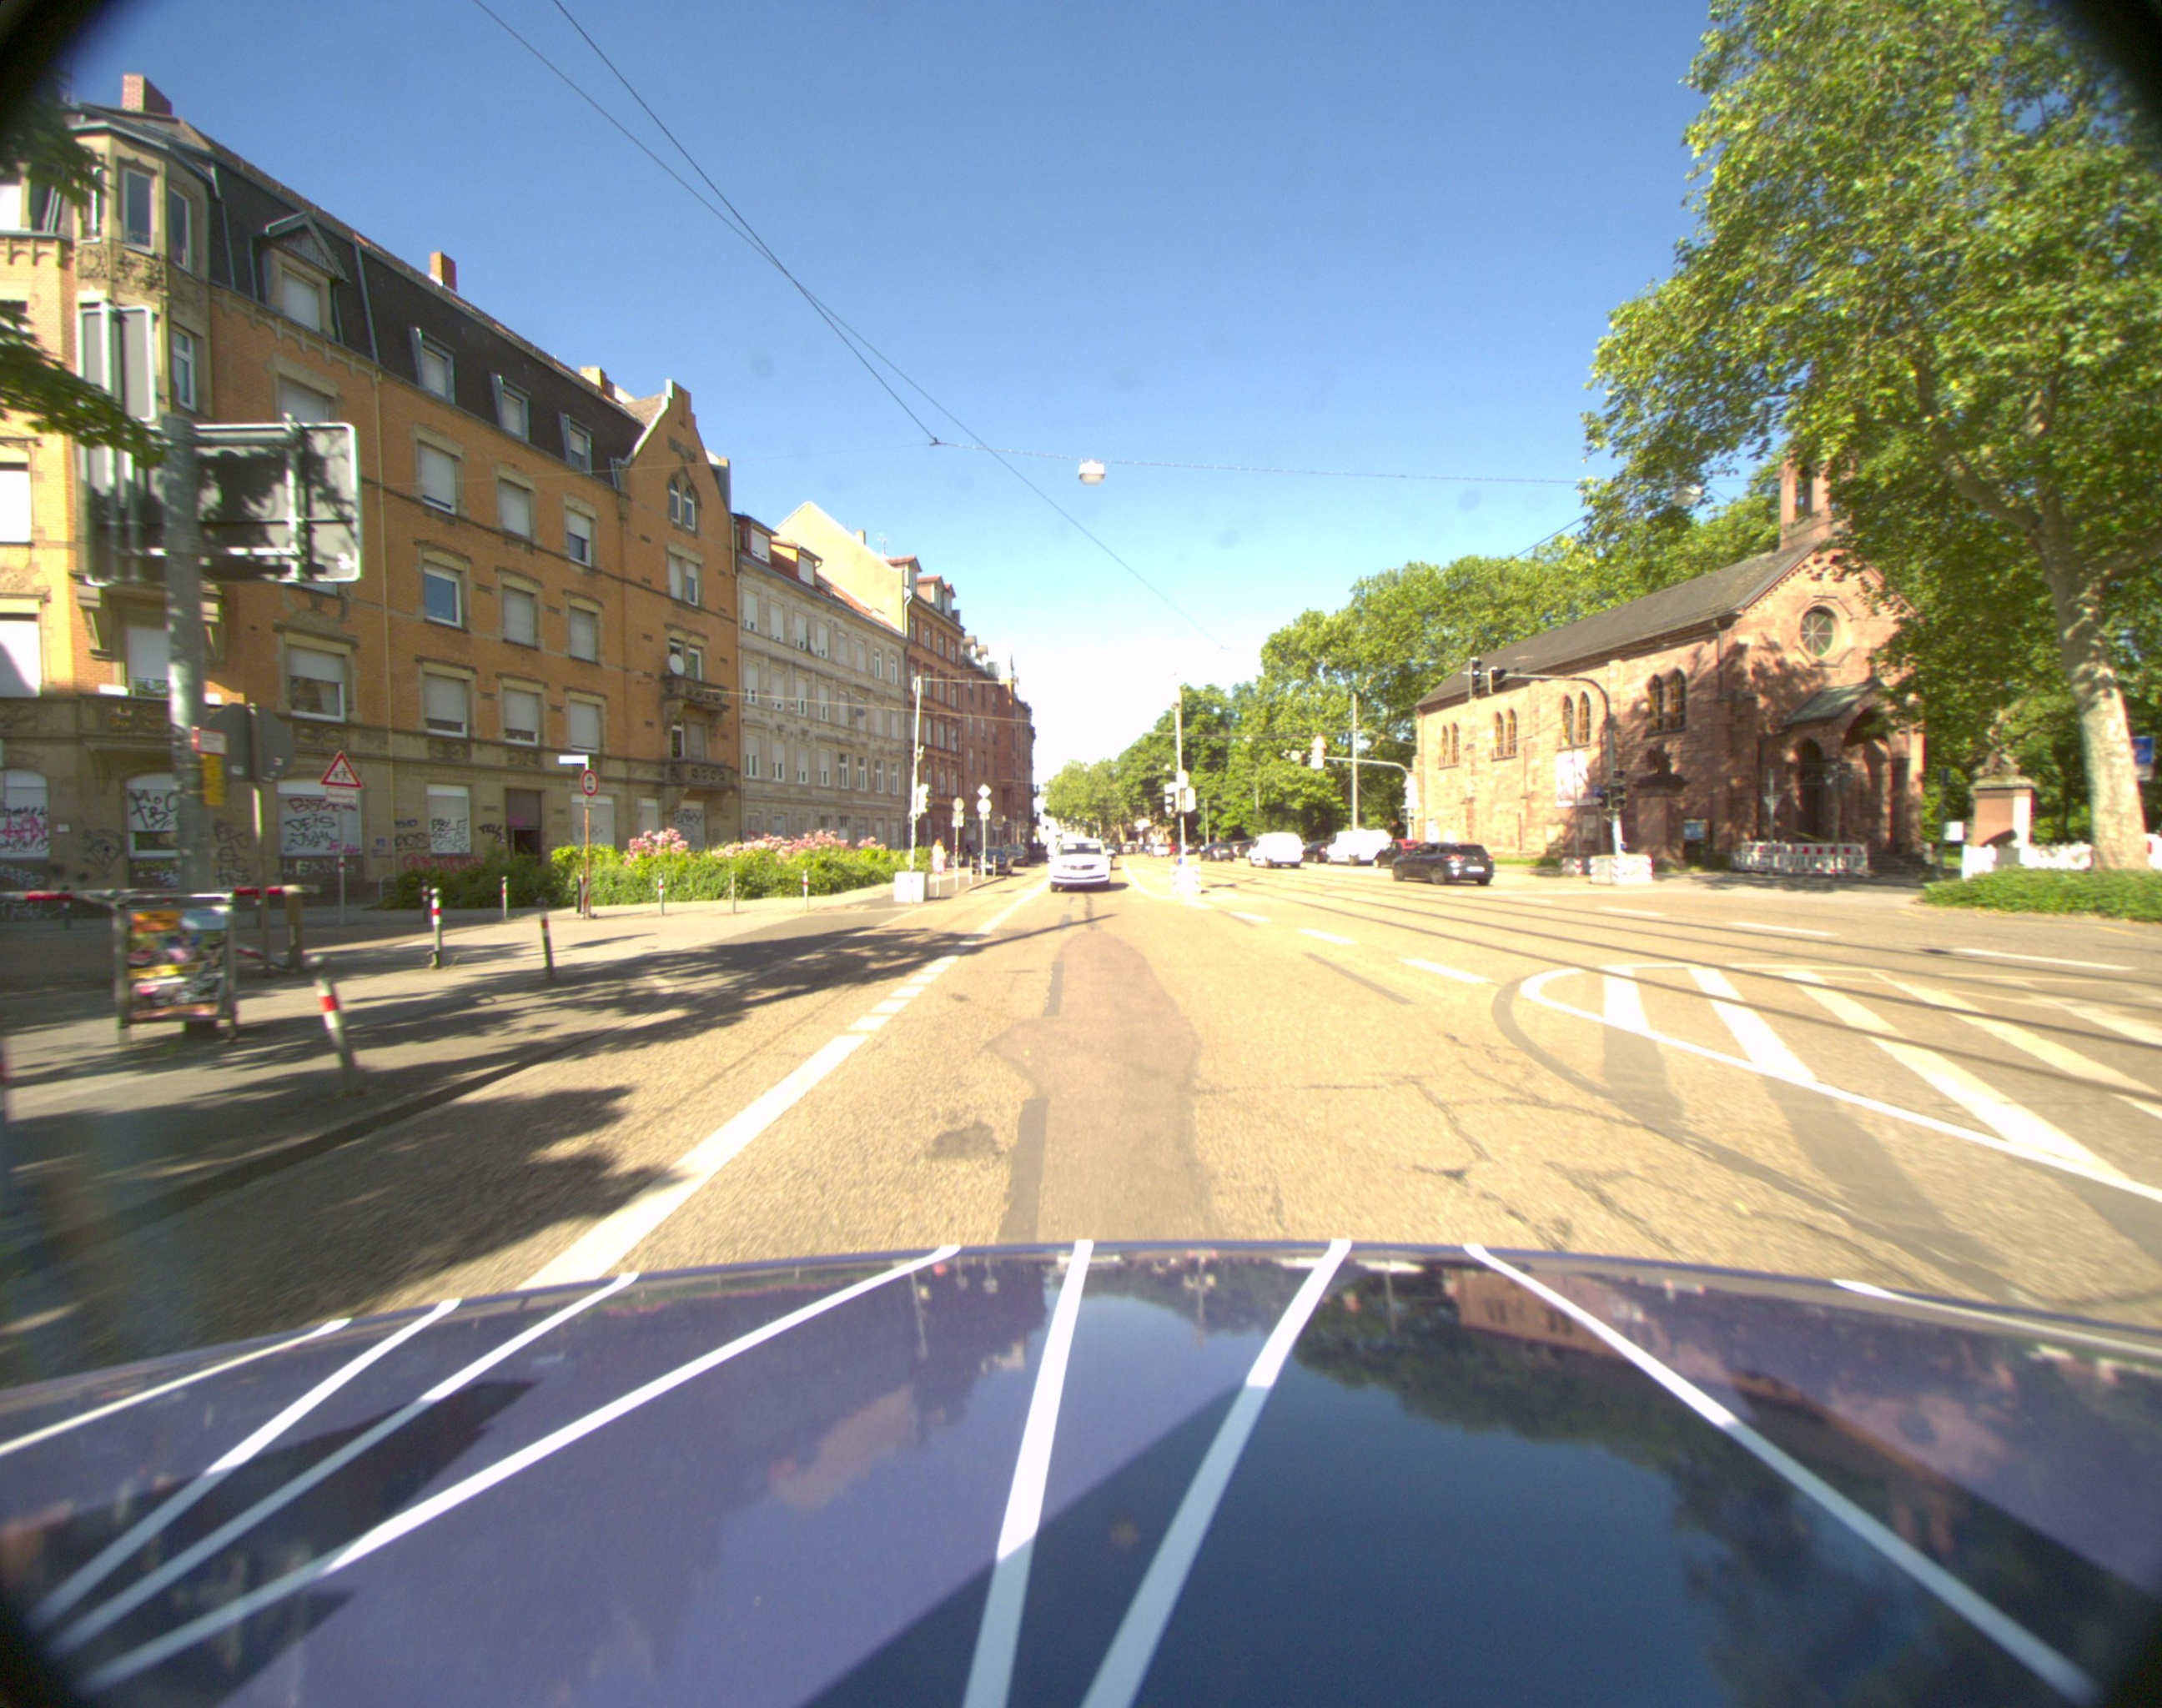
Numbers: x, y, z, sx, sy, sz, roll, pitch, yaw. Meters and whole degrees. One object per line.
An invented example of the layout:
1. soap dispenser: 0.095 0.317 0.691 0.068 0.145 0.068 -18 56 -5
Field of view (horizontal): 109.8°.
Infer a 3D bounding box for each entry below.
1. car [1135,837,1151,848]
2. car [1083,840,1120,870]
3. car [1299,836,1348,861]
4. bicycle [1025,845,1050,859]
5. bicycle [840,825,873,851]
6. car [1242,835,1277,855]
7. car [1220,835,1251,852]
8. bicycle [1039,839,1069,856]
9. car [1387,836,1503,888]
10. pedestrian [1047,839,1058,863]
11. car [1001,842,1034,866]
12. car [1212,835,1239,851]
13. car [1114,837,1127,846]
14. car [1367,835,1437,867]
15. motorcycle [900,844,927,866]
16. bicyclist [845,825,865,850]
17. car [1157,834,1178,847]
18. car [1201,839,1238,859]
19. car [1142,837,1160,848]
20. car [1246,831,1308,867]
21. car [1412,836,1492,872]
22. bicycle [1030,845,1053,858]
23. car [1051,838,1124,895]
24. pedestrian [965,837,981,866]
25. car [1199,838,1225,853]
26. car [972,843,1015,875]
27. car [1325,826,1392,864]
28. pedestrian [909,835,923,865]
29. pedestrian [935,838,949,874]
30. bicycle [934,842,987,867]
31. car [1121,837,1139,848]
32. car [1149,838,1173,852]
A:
1. car: 8.833 -1.703 108.676 1.795 1.543 4.305 -1 1 -3
2. car: 1.256 0.041 43.839 1.998 1.608 4.263 -1 1 3
3. car: 15.846 -0.417 49.789 1.795 1.543 3.858 -1 1 -3
4. bicycle: -3.664 -0.180 63.587 1.917 1.131 0.845 0 2 12
5. bicycle: -11.482 -0.820 38.867 0.956 1.279 2.237 -1 1 1
6. car: 15.262 -0.790 65.048 1.795 1.543 4.305 -1 1 -3
7. car: 14.312 -0.997 70.722 1.795 1.543 4.305 -1 1 -3
8. bicycle: -2.541 -0.688 72.981 1.805 1.429 8.779 -1 1 5
9. car: 12.059 0.190 25.461 1.620 1.404 4.083 -2 4 -6
10. pedestrian: -2.173 -0.269 57.567 0.735 1.784 0.884 -1 2 1
11. car: -4.286 -0.025 51.981 1.764 1.517 4.472 0 1 2
12. car: 14.594 -1.144 76.939 1.795 1.543 4.305 -1 1 -3
13. car: 6.403 -2.038 123.555 1.795 1.543 4.305 -1 1 -3
14. car: 16.506 -0.178 39.235 1.795 1.543 3.858 -1 1 -3
15. motorcycle: -10.531 0.056 47.861 1.632 1.308 0.716 -1 2 -13
16. bicyclist: -11.518 -0.847 38.714 0.693 1.279 0.862 -1 2 0
17. car: 10.604 -1.654 93.301 1.795 1.543 4.305 -1 1 -3
18. car: 10.273 -0.385 56.708 1.798 1.421 4.374 -1 1 -3
19. car: 9.553 -1.584 104.248 1.795 1.543 4.305 -1 1 -3
20. car: 10.764 -0.310 42.020 2.066 1.880 4.515 0 1 -3
21. car: 16.888 -0.048 34.742 1.779 1.565 3.675 -1 1 -2
22. bicycle: -3.388 -0.207 65.302 1.801 1.053 0.655 0 2 9
23. car: 0.309 0.336 24.683 1.800 1.627 4.395 -1 2 8
24. pedestrian: -7.648 -0.211 53.700 0.844 2.002 1.369 -1 2 1
25. car: 14.102 -0.910 81.969 1.795 1.543 4.305 -1 1 -3
26. car: -4.390 0.227 38.489 1.683 1.475 3.999 -1 1 0
27. car: 16.035 -0.548 44.198 1.921 2.085 4.589 -1 1 -4
28. pedestrian: -10.380 -0.255 47.886 0.822 1.851 0.703 -2 2 -13
29. pedestrian: -6.474 0.095 35.322 0.551 1.667 0.687 -2 2 -12
30. bicycle: -7.281 -0.022 46.634 1.969 1.408 6.826 0 1 1
31. car: 6.313 -1.526 98.168 1.798 1.421 4.374 -1 1 -3
32. car: 8.255 -0.954 78.473 1.798 1.421 4.374 -1 1 -3
